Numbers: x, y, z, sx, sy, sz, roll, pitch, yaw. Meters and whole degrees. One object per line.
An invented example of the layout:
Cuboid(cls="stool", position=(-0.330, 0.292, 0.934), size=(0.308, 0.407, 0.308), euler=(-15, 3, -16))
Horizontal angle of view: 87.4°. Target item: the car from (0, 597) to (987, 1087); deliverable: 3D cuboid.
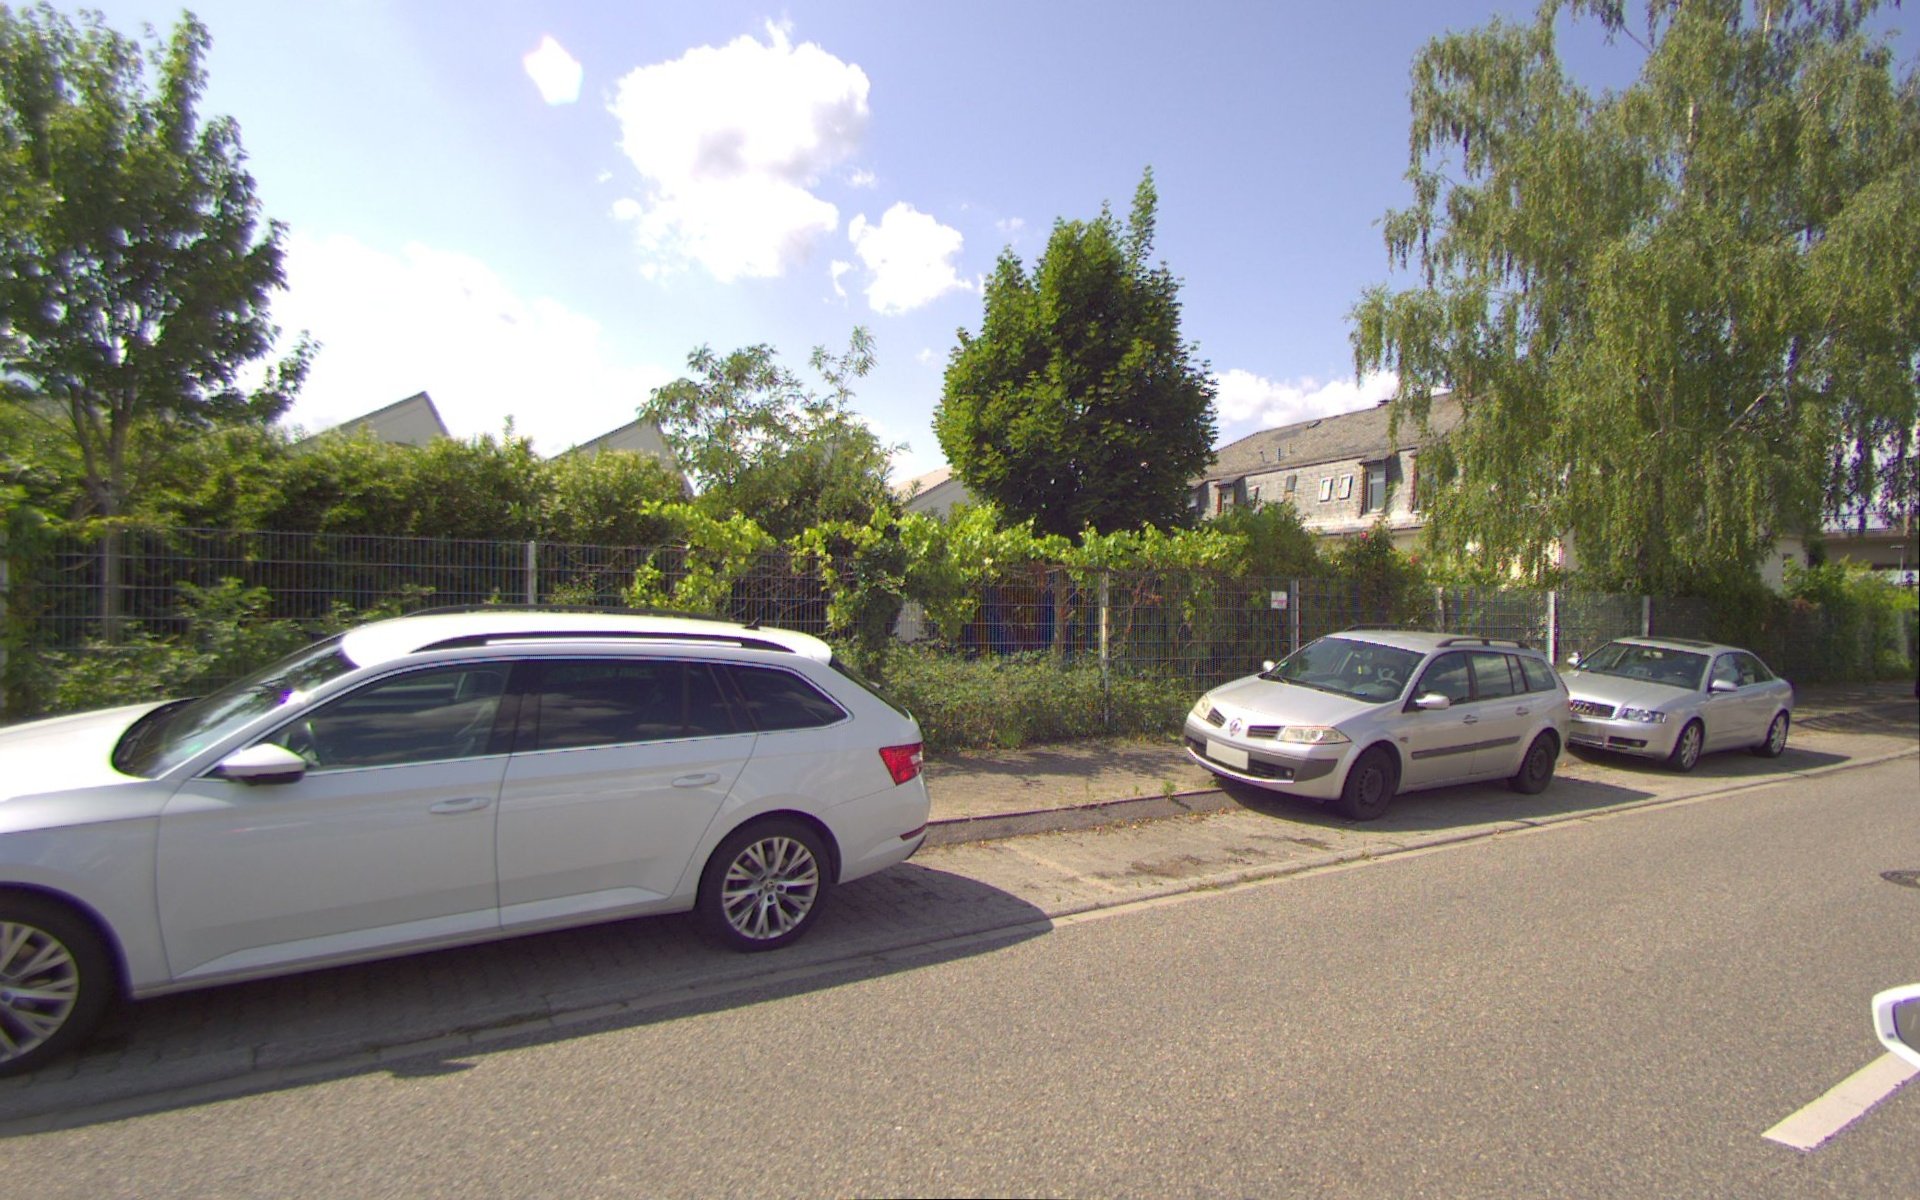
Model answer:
Cuboid(cls="car", position=(-2.302, 0.833, 4.864), size=(4.734, 1.616, 1.691), euler=(1, -1, -32))

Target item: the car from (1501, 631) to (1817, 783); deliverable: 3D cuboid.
Cuboid(cls="car", position=(9.074, 1.236, 12.915), size=(4.583, 1.497, 1.713), euler=(1, 3, -34))

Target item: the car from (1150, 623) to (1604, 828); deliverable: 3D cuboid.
Cuboid(cls="car", position=(4.148, 1.027, 9.712), size=(4.609, 1.547, 1.784), euler=(1, -1, -33))

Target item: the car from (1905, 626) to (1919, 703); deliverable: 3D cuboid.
Cuboid(cls="car", position=(21.184, 1.402, 20.605), size=(4.115, 1.533, 1.671), euler=(2, 3, -34))
